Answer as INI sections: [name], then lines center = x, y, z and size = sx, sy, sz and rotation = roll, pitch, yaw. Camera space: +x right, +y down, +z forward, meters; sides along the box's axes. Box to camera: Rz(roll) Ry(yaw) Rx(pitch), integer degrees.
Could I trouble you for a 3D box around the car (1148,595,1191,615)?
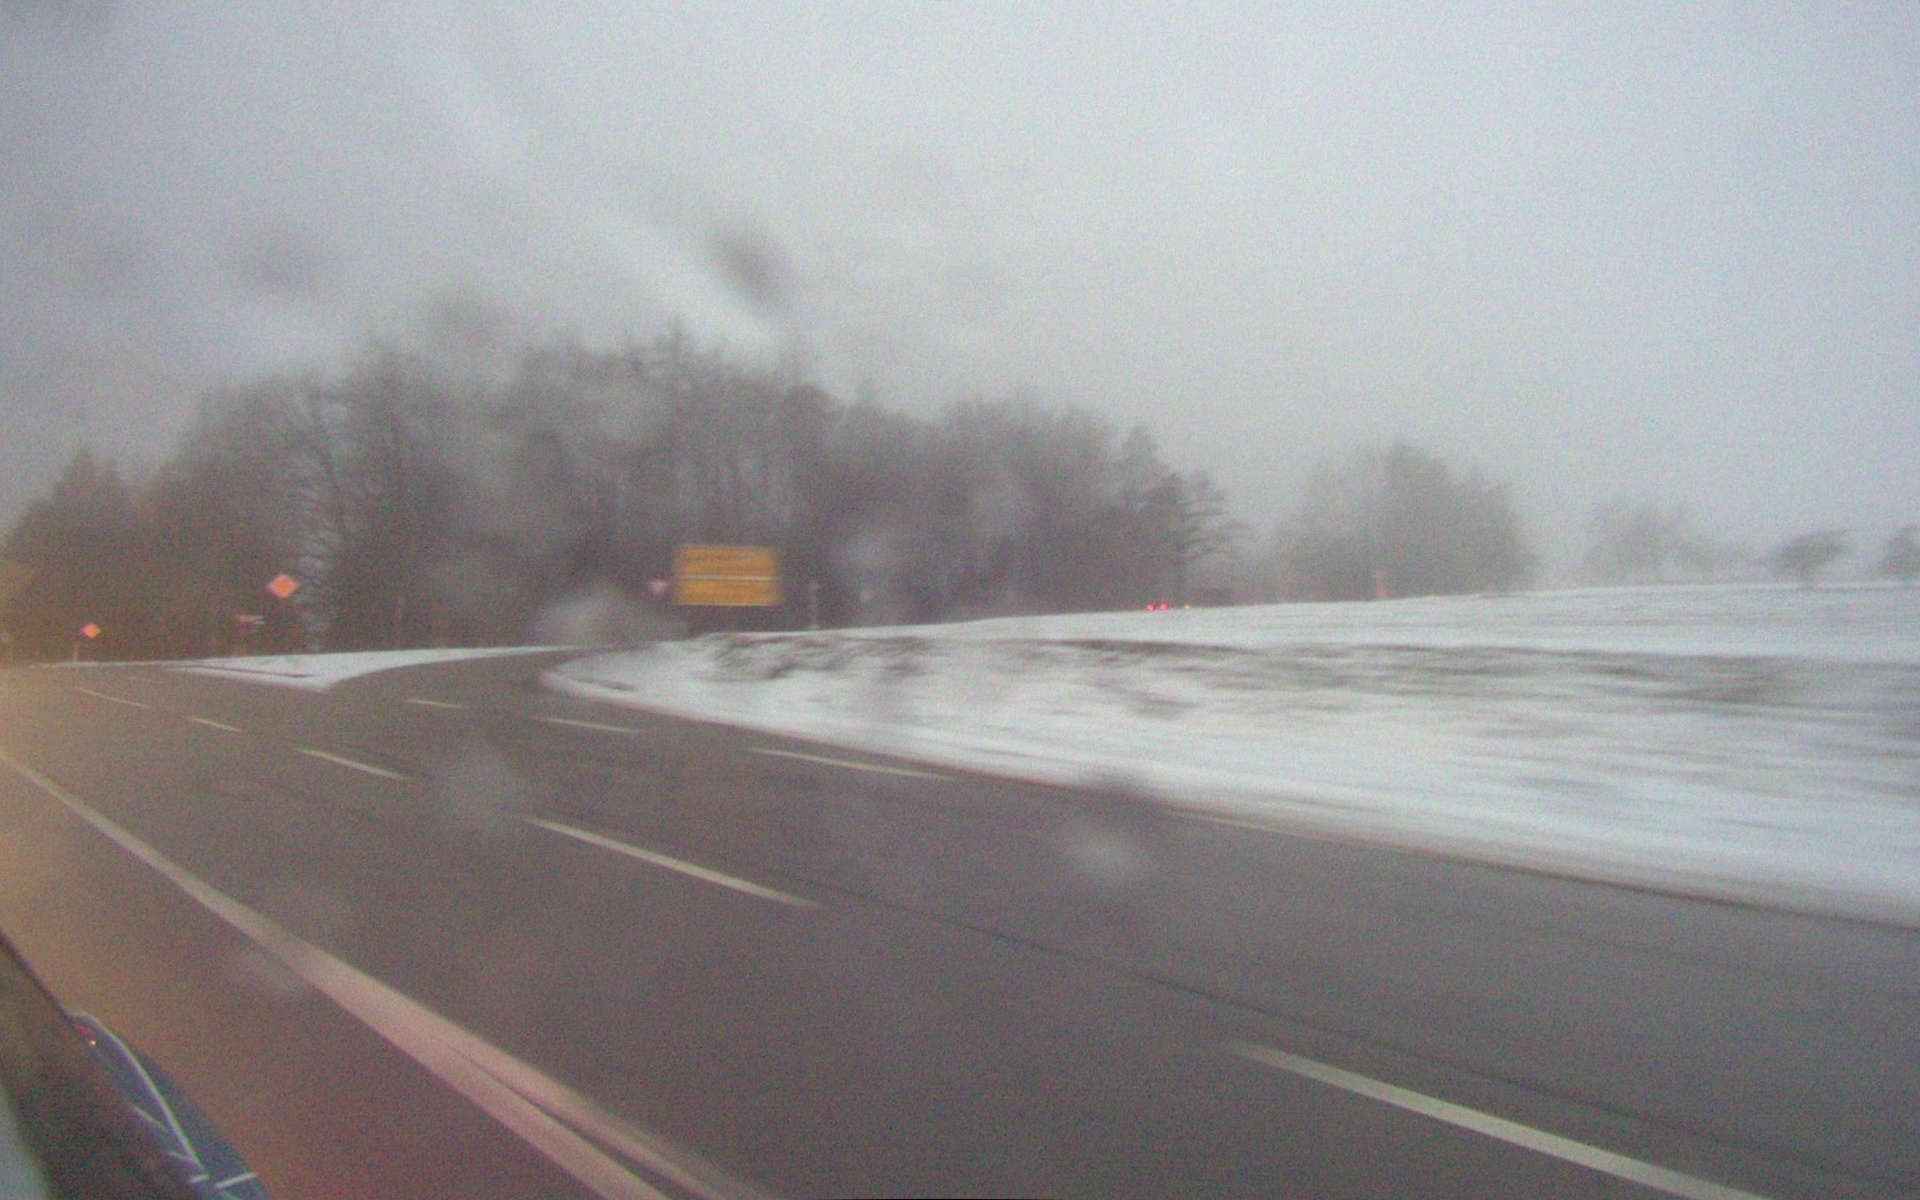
[car]
center = 16.496, 0.375, 79.567
size = 3.361, 1.463, 1.578
rotation = 0, -3, -43
